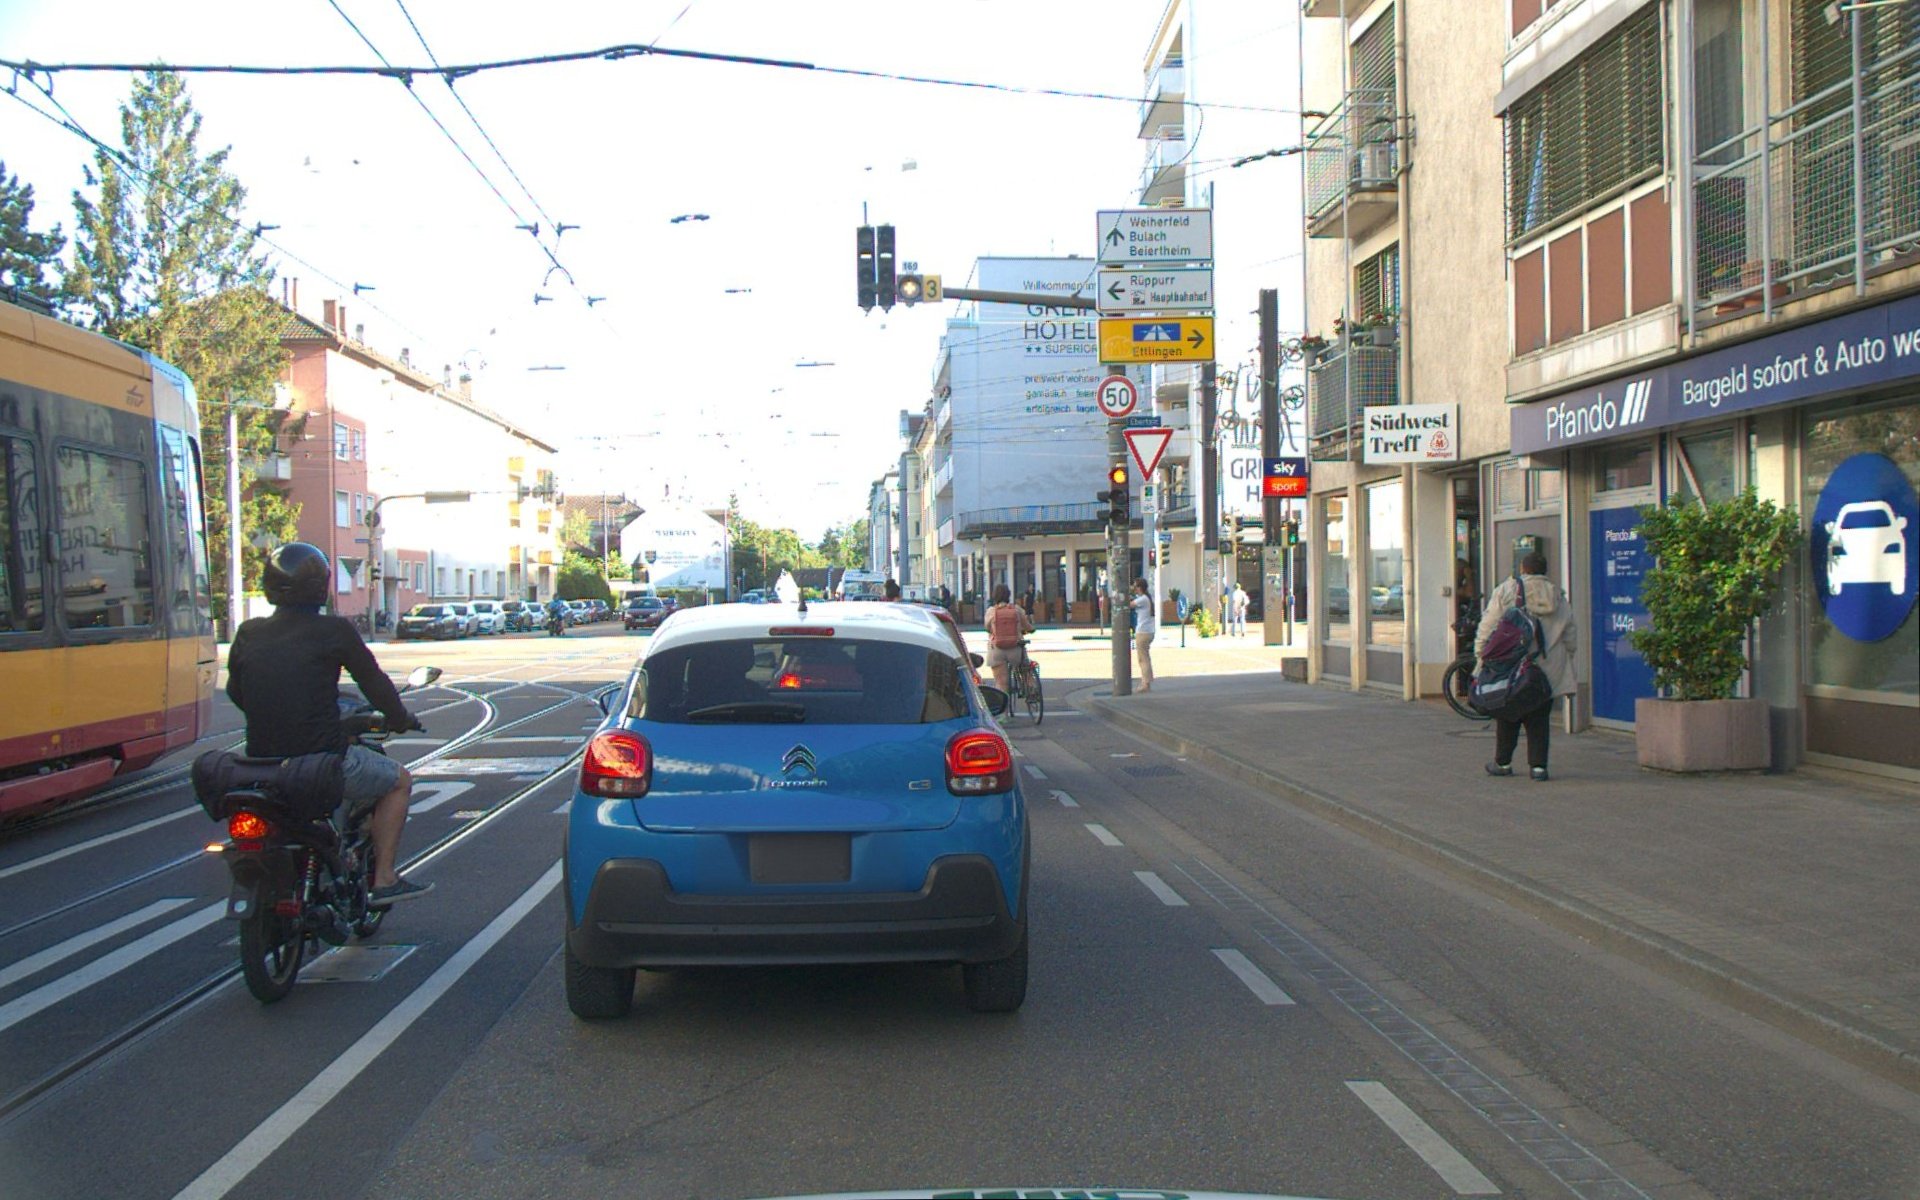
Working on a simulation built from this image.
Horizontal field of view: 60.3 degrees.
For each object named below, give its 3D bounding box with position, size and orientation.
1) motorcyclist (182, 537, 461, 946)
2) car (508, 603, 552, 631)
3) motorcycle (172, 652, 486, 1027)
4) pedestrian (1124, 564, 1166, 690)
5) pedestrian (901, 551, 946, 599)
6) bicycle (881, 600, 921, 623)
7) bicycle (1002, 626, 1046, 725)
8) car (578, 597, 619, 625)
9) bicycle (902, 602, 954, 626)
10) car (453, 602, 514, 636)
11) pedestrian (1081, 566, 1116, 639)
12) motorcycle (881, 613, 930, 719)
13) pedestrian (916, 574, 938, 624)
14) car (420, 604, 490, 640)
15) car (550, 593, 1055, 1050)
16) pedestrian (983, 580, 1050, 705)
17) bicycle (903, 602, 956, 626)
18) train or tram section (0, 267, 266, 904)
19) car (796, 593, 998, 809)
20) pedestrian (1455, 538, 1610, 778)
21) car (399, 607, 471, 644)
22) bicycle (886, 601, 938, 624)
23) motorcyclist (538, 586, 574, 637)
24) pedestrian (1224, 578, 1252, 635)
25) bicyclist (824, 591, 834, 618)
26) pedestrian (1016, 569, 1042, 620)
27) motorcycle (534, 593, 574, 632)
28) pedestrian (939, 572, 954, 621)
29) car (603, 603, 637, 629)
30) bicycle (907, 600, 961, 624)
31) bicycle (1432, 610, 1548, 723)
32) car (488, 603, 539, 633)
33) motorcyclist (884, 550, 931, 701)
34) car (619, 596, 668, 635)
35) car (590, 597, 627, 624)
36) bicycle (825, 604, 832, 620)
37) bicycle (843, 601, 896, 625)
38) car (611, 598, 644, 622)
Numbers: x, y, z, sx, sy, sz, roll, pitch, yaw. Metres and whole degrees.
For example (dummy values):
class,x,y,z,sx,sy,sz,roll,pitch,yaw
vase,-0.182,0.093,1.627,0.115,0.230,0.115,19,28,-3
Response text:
class,x,y,z,sx,sy,sz,roll,pitch,yaw
motorcyclist,-2.501,0.538,6.547,0.843,1.531,0.598,1,-1,-1
car,-23.815,0.921,91.756,1.699,1.524,3.996,1,0,-5
motorcycle,-2.476,0.863,6.742,0.526,1.240,1.980,1,0,-1
pedestrian,2.703,0.398,24.227,0.507,1.814,0.595,1,-1,-3
pedestrian,-1.608,-1.077,73.507,1.953,2.049,3.999,1,0,-1
bicycle,-2.472,0.491,69.232,1.751,0.917,0.365,1,-1,34
bicycle,0.779,0.909,20.519,0.419,1.142,1.998,1,0,-1
car,-23.138,0.707,105.865,1.944,1.716,3.997,1,0,-4
bicycle,-1.299,0.567,67.566,2.093,0.917,0.366,1,-1,-10
car,-22.614,0.887,78.618,1.751,1.537,4.148,1,0,-2
pedestrian,3.931,0.075,46.970,0.907,2.049,0.759,1,-1,-1
motorcycle,-0.626,0.735,19.399,0.515,1.159,2.289,1,0,-1
pedestrian,-1.380,-0.037,69.191,0.625,2.049,0.715,1,-1,-37
car,-22.163,0.959,72.749,1.778,1.524,4.299,1,0,-1
car,-0.534,0.731,7.157,1.620,1.469,3.522,1,0,-1
pedestrian,0.687,0.511,20.234,0.761,1.486,0.681,1,-1,-1
bicycle,-1.230,0.578,67.156,2.093,0.917,0.366,1,-1,-10
train or tram section,-6.669,-0.101,6.977,2.691,3.695,14.248,1,0,-5
car,-0.467,0.722,13.116,1.395,1.493,2.923,-1,0,-1
pedestrian,4.026,0.398,11.672,0.808,1.620,0.751,1,-1,-1
car,-21.698,1.019,68.445,1.757,1.446,3.994,1,0,-2
bicycle,-1.975,0.508,68.310,2.093,0.917,0.366,1,-1,-10
motorcyclist,-16.339,0.461,66.848,1.162,2.049,1.274,-1,0,-4
pedestrian,8.429,0.190,50.155,0.736,1.686,0.884,1,-1,15
bicyclist,-7.551,0.269,95.248,0.549,1.503,0.747,1,-1,-2
pedestrian,2.761,-0.221,66.633,0.705,2.049,0.748,1,-1,-42
motorcycle,-16.333,0.510,66.644,0.905,1.512,3.723,1,0,-4
pedestrian,-0.584,-0.152,70.279,0.565,2.049,0.625,1,-1,-3
car,-23.892,1.105,116.273,1.797,1.716,3.997,1,0,-4
bicycle,-1.044,0.489,65.866,2.093,0.917,0.366,1,-1,-10
bicycle,5.038,0.607,15.826,0.531,1.016,1.705,1,0,-1
car,-23.090,0.920,85.698,1.750,1.524,3.997,1,0,-4
motorcyclist,-0.618,0.294,19.589,0.516,1.746,0.717,1,-1,-1
car,-14.544,0.693,76.160,1.740,1.695,3.853,1,0,-4
car,-23.569,0.686,111.032,1.845,1.716,3.997,1,0,-4
bicycle,-7.564,0.690,95.252,0.342,0.919,1.858,1,0,-2
bicycle,-3.616,0.533,66.200,2.093,0.917,0.366,1,-1,-10
car,-24.300,0.715,120.915,1.809,1.716,3.871,1,0,-4
